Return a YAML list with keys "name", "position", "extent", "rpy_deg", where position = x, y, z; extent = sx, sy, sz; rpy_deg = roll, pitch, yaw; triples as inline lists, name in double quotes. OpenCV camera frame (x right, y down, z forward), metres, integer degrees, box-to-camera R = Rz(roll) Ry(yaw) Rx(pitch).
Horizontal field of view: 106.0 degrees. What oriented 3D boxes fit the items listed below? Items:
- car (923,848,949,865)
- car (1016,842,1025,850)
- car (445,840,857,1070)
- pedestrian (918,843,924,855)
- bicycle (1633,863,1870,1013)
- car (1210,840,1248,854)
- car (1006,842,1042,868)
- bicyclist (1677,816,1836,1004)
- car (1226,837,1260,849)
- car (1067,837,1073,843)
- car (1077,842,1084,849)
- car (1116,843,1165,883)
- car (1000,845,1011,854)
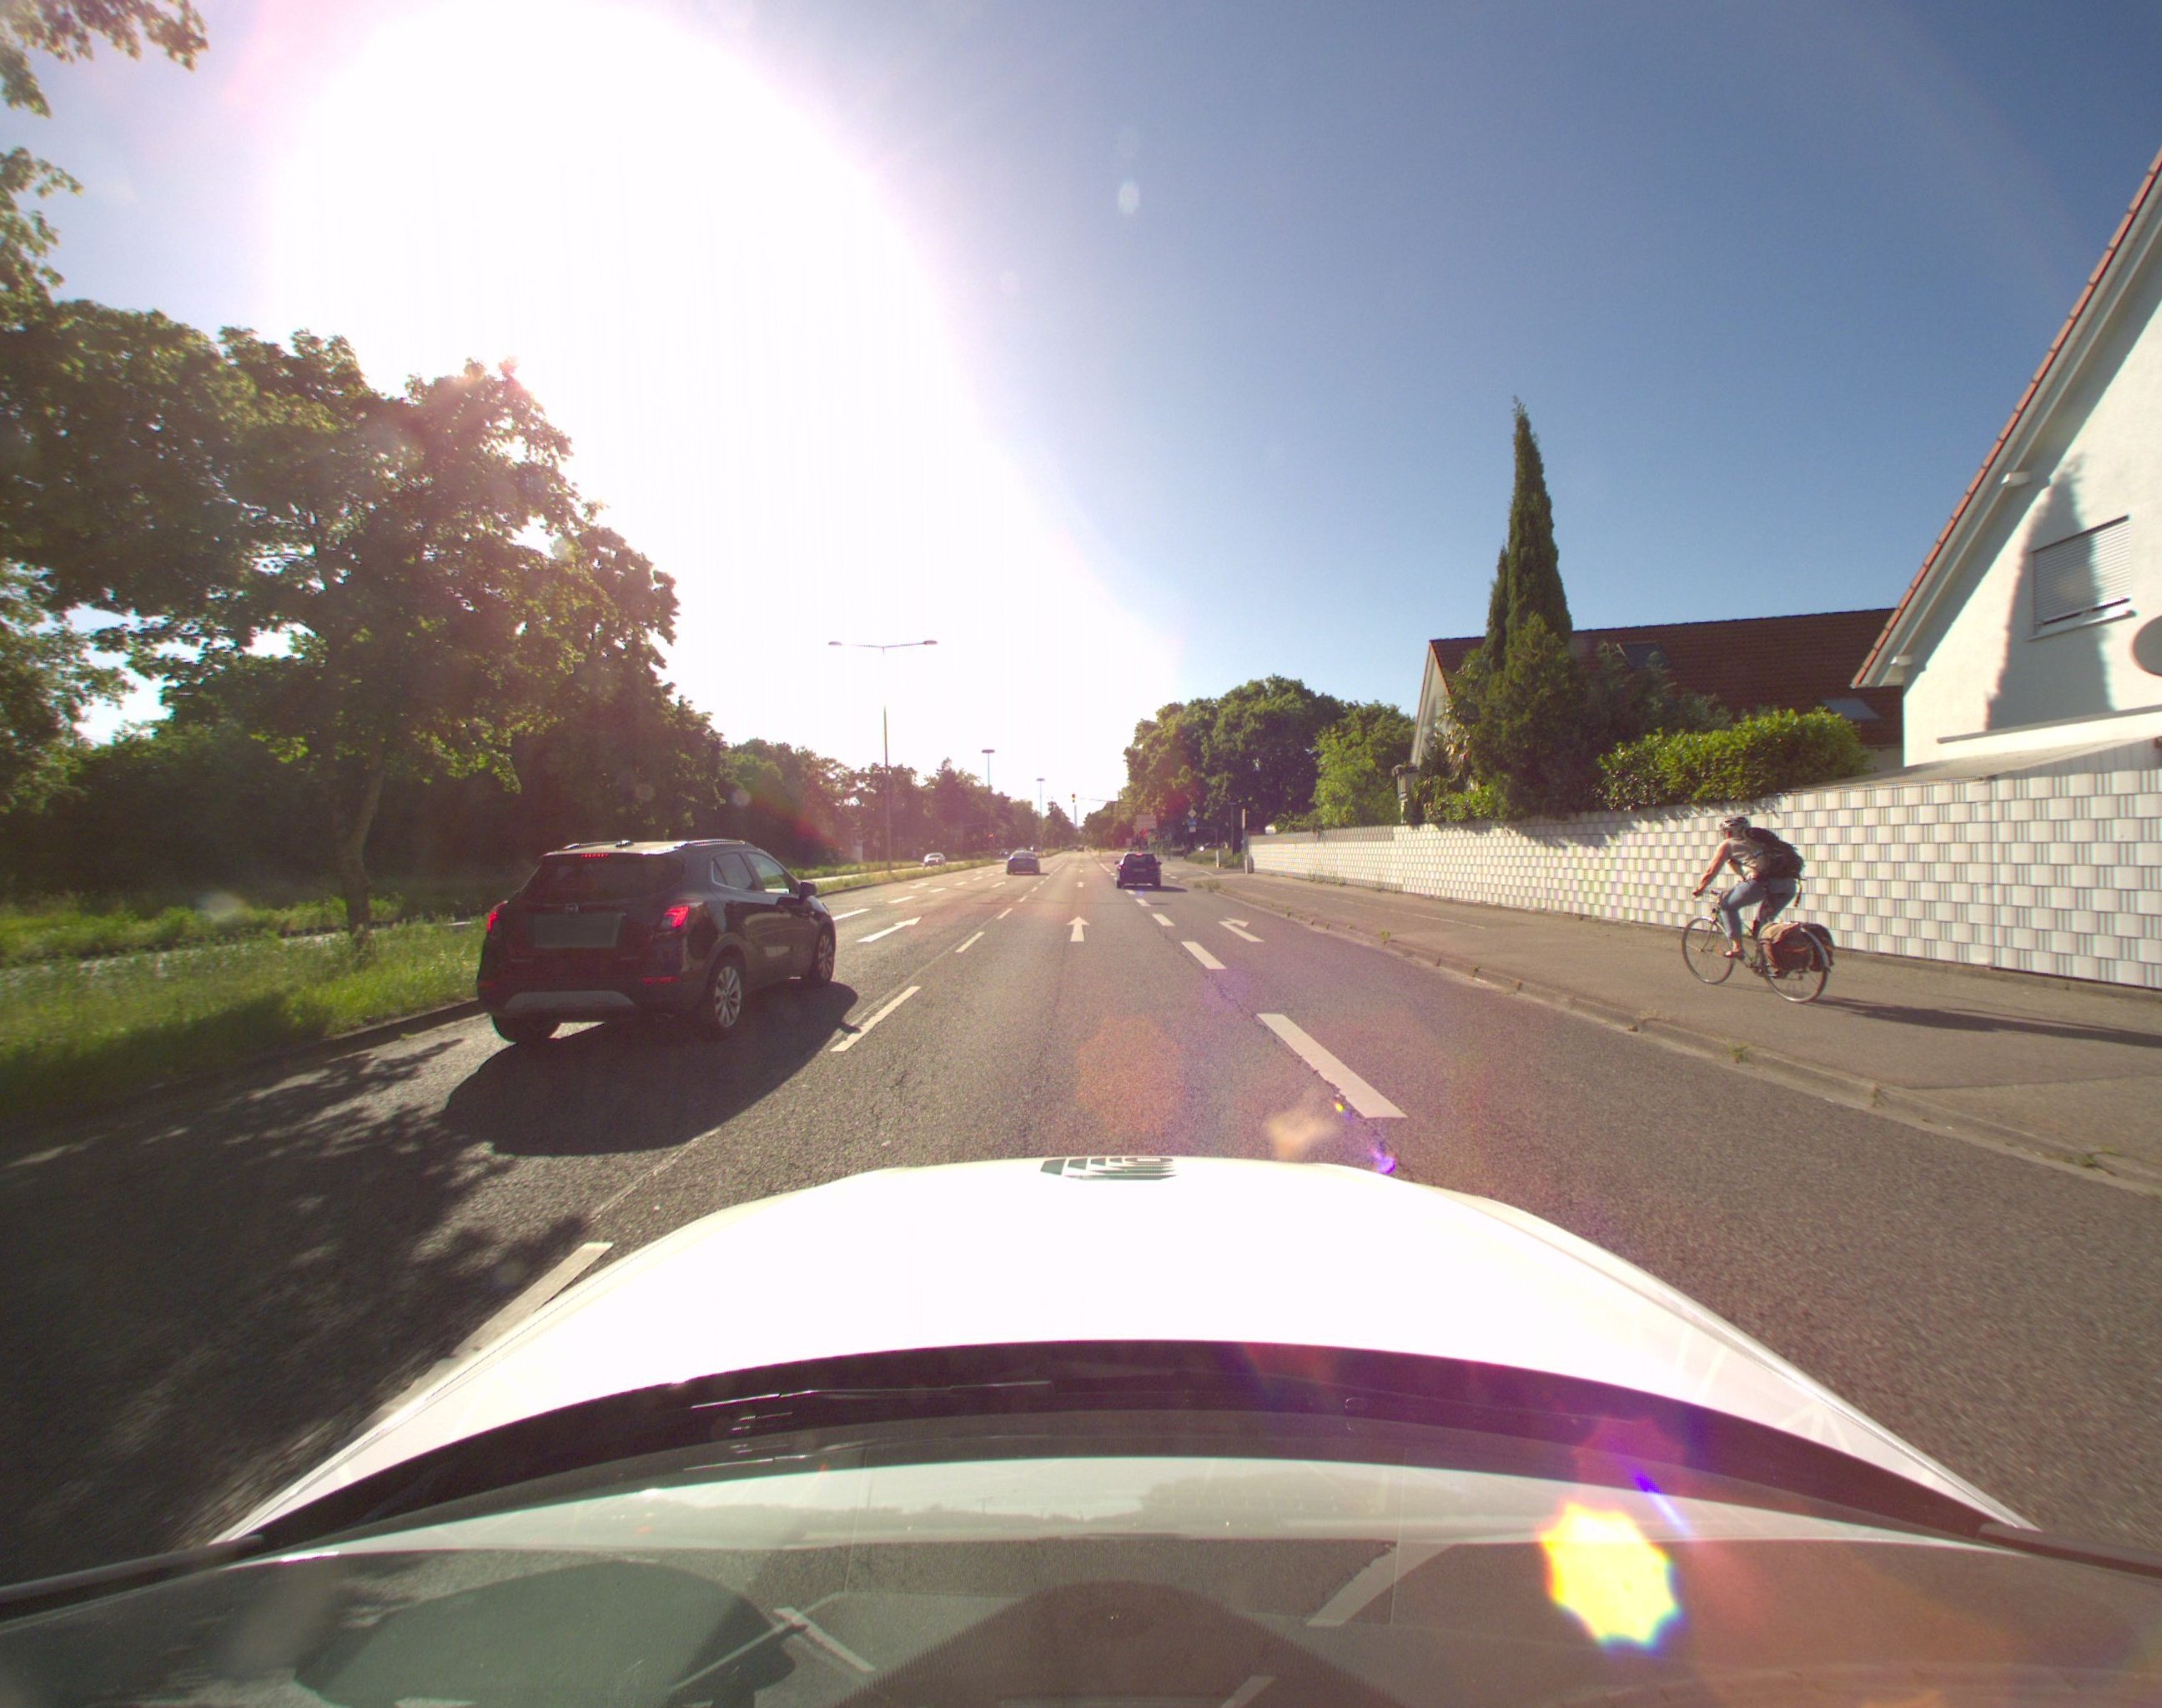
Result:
- name: "car"
  position: [-15.557, 0.279, 87.587]
  extent: [1.905, 1.703, 4.408]
  rpy_deg: [1, 0, 1]
- name: "car"
  position: [-14.970, -1.979, 202.339]
  extent: [1.858, 1.684, 4.000]
  rpy_deg: [1, 0, 0]
- name: "car"
  position: [-3.696, 0.711, 8.058]
  extent: [1.690, 1.632, 4.417]
  rpy_deg: [0, 0, 0]
- name: "pedestrian"
  position: [-24.578, -0.795, 124.933]
  extent: [0.842, 1.835, 0.550]
  rpy_deg: [0, 1, 4]
- name: "bicycle"
  position: [6.355, 0.720, 7.910]
  extent: [0.571, 1.155, 2.142]
  rpy_deg: [-4, 1, 3]
- name: "car"
  position: [18.438, -0.877, 101.404]
  extent: [4.588, 1.574, 2.006]
  rpy_deg: [-1, -1, 11]
- name: "car"
  position: [-3.464, 0.053, 50.159]
  extent: [1.882, 1.552, 4.000]
  rpy_deg: [-1, 0, 0]
- name: "bicyclist"
  position: [6.337, 0.486, 7.696]
  extent: [0.627, 1.632, 0.982]
  rpy_deg: [-4, 1, 3]
- name: "car"
  position: [19.256, -1.303, 96.970]
  extent: [3.810, 1.459, 1.740]
  rpy_deg: [0, 0, 4]
- name: "car"
  position: [-3.251, -4.170, 238.842]
  extent: [1.819, 1.615, 3.839]
  rpy_deg: [-2, 1, -1]
- name: "car"
  position: [-0.116, -2.172, 209.374]
  extent: [1.727, 1.585, 3.839]
  rpy_deg: [2, 0, 0]
- name: "car"
  position: [2.378, 0.345, 33.353]
  extent: [1.750, 1.509, 3.808]
  rpy_deg: [0, 0, 0]
- name: "car"
  position: [-15.234, -0.901, 164.080]
  extent: [1.858, 1.684, 4.260]
  rpy_deg: [2, 0, 0]
